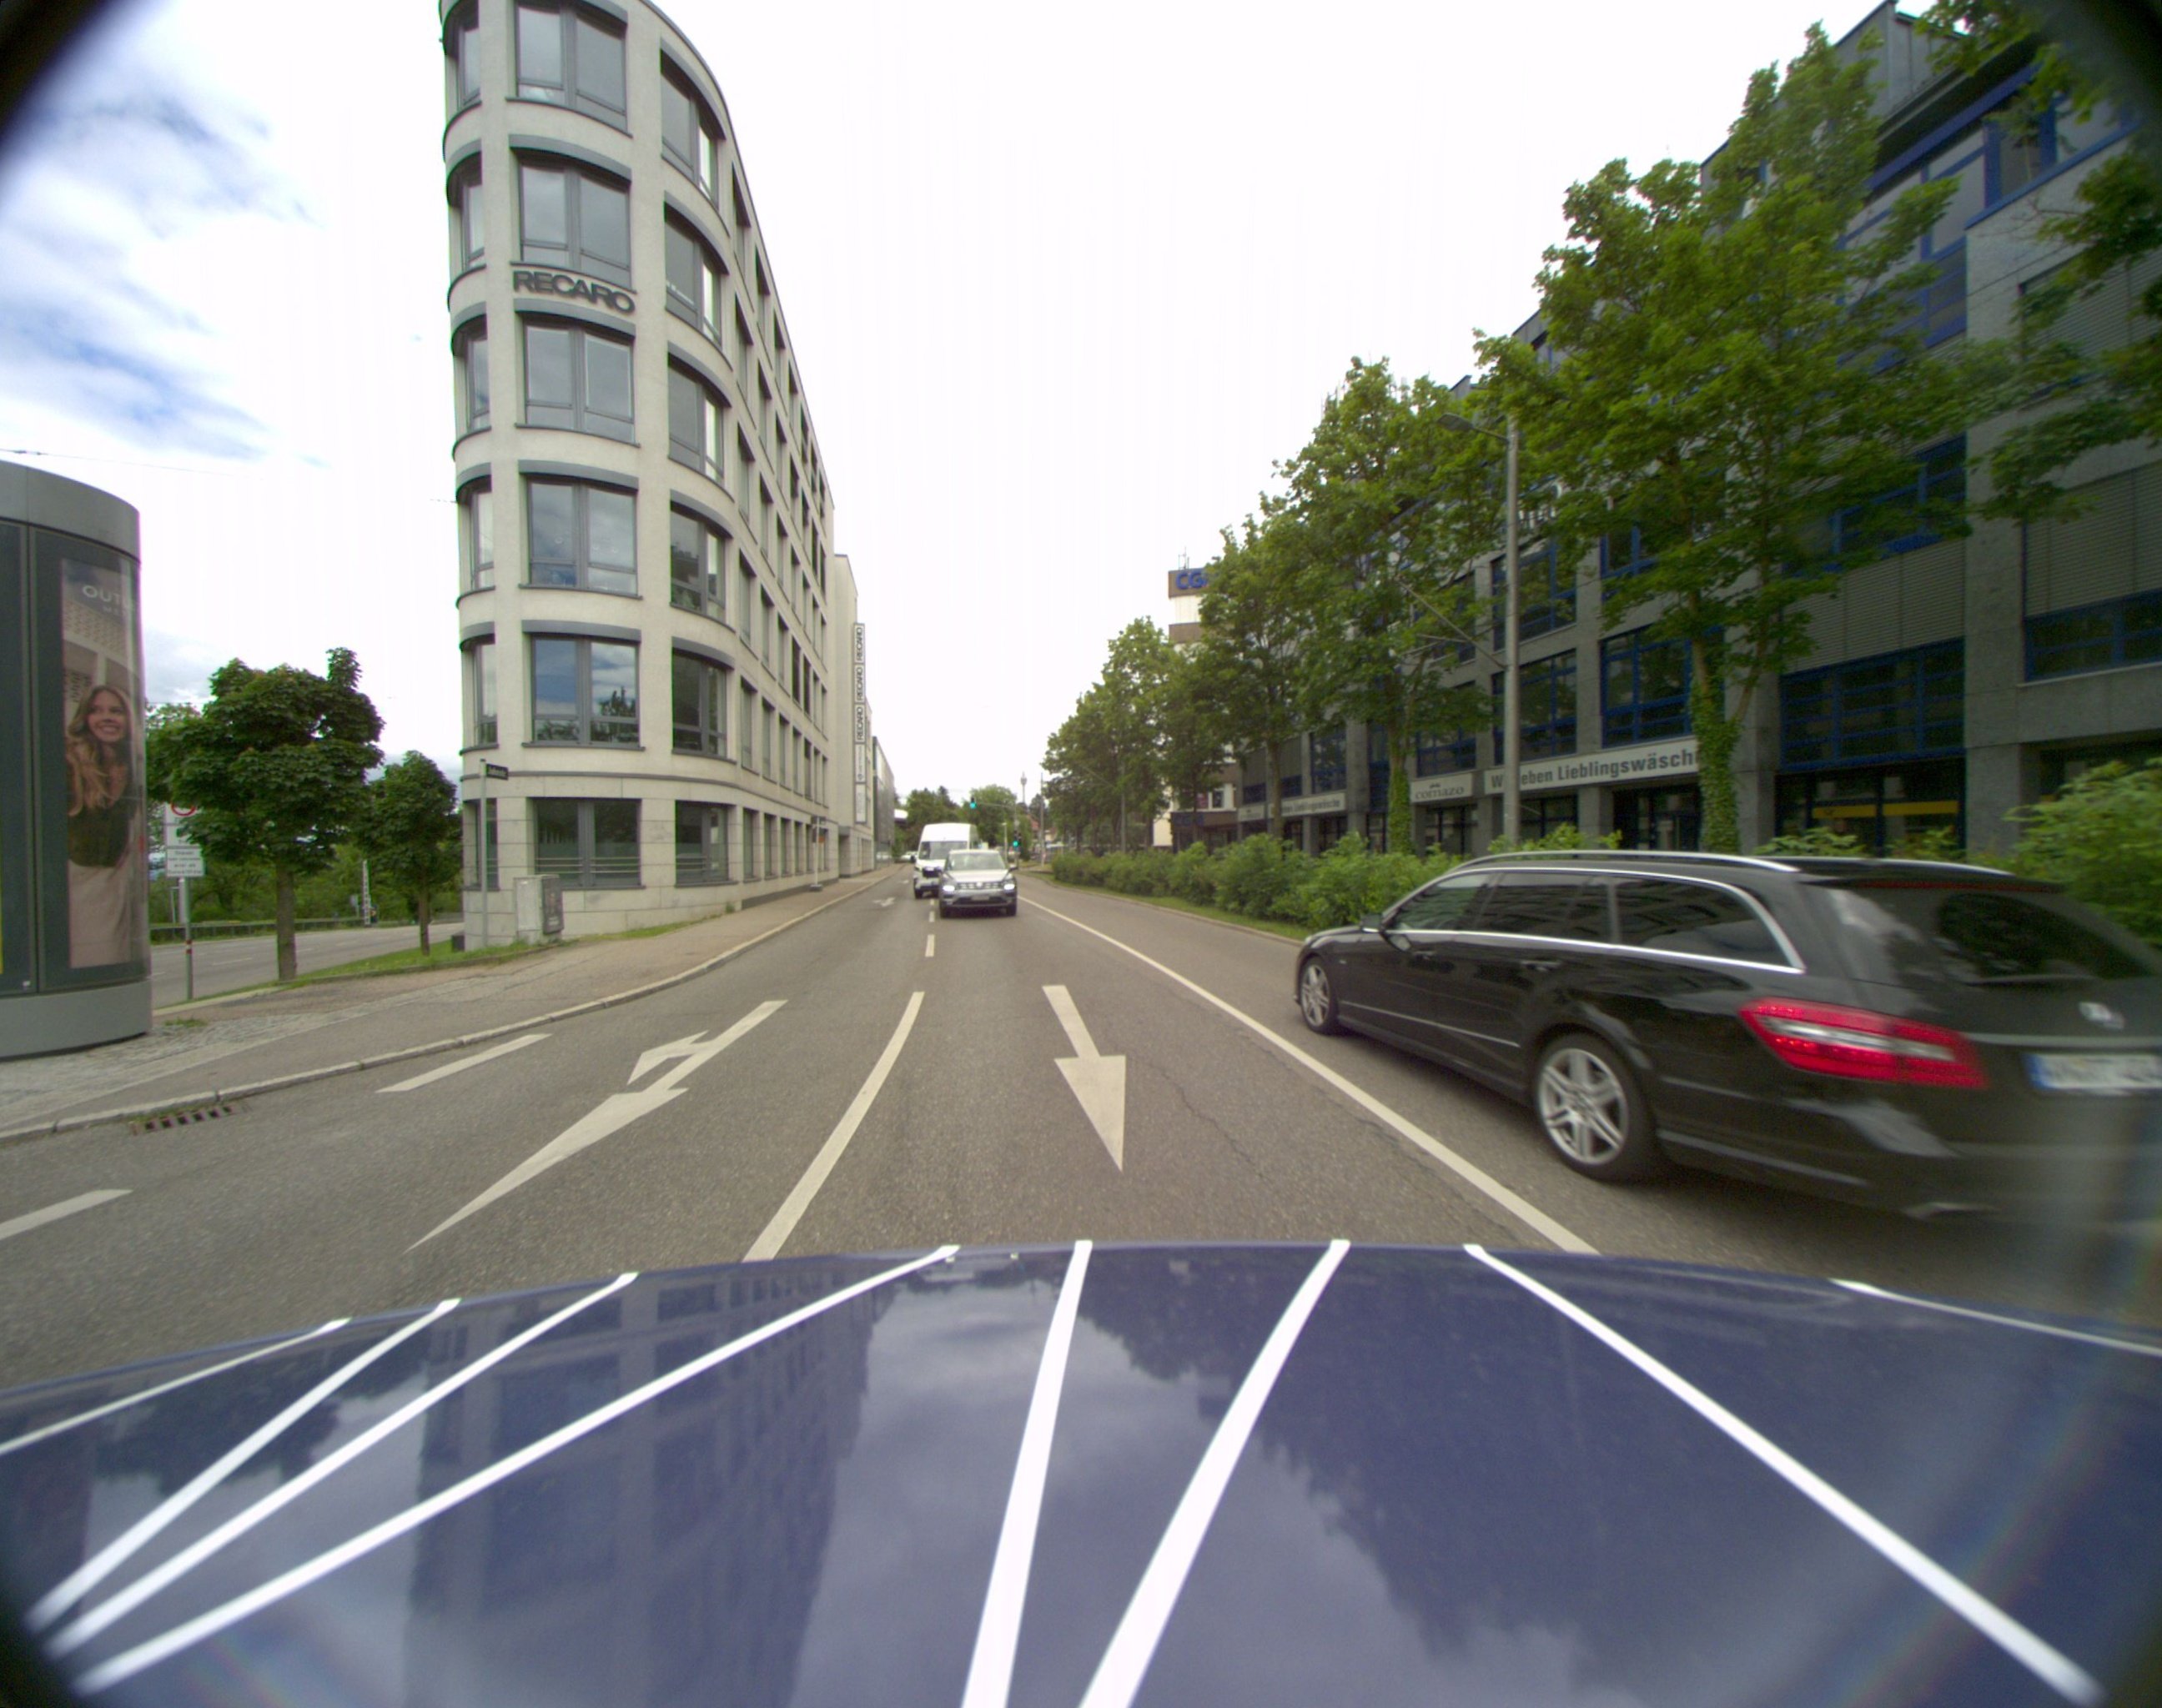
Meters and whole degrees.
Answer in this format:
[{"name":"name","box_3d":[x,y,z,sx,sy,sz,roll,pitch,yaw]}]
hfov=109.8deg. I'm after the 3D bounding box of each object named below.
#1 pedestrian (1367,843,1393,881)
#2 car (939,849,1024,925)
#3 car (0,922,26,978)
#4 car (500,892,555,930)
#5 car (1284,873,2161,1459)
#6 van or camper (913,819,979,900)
[{"name":"pedestrian","box_3d":[11.964,0.313,30.429,0.699,1.474,0.678,-2,1,-11]},{"name":"car","box_3d":[-2.627,0.731,19.295,1.835,1.636,4.322,-2,1,-11]},{"name":"car","box_3d":[-31.228,2.817,20.369,1.739,1.559,4.317,-5,1,-30]},{"name":"car","box_3d":[-34.904,3.553,48.008,2.181,2.002,3.991,-2,1,-28]},{"name":"car","box_3d":[2.986,0.898,4.476,1.851,1.428,4.702,0,0,-7]},{"name":"van or camper","box_3d":[-5.150,0.175,28.920,2.112,2.675,6.292,-2,1,-11]}]
